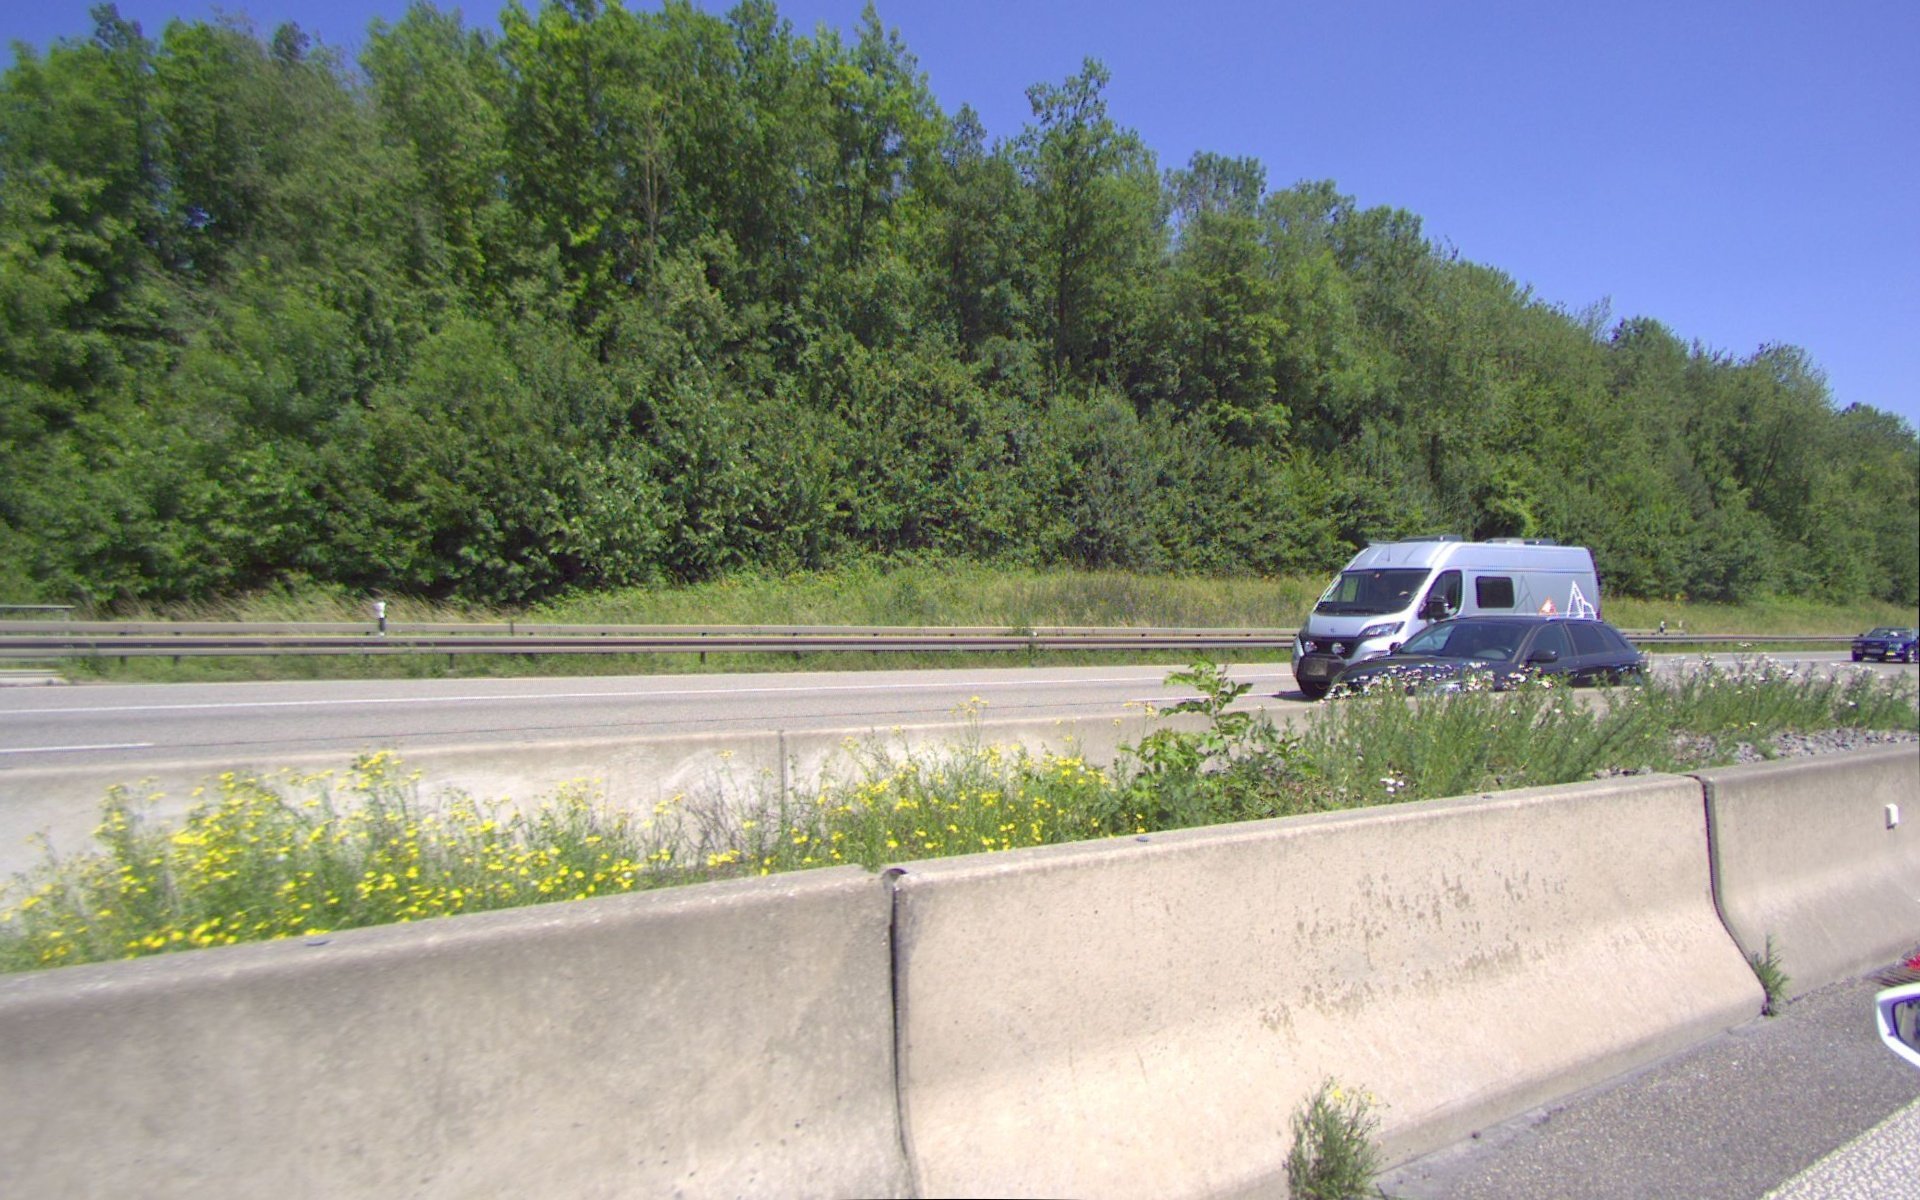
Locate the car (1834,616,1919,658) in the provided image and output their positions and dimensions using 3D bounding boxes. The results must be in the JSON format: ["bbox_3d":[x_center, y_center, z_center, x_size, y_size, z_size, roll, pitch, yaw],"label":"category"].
[{"bbox_3d":[34.984,1.360,37.935,3.953,1.472,1.831,1,0,-31],"label":"car"}]

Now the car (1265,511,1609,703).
[{"bbox_3d":[8.070,0.152,16.785,5.991,2.737,2.205,1,0,-30],"label":"car"}]

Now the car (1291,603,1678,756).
[{"bbox_3d":[6.004,0.788,11.394,4.360,1.429,1.866,1,0,-30],"label":"car"}]
